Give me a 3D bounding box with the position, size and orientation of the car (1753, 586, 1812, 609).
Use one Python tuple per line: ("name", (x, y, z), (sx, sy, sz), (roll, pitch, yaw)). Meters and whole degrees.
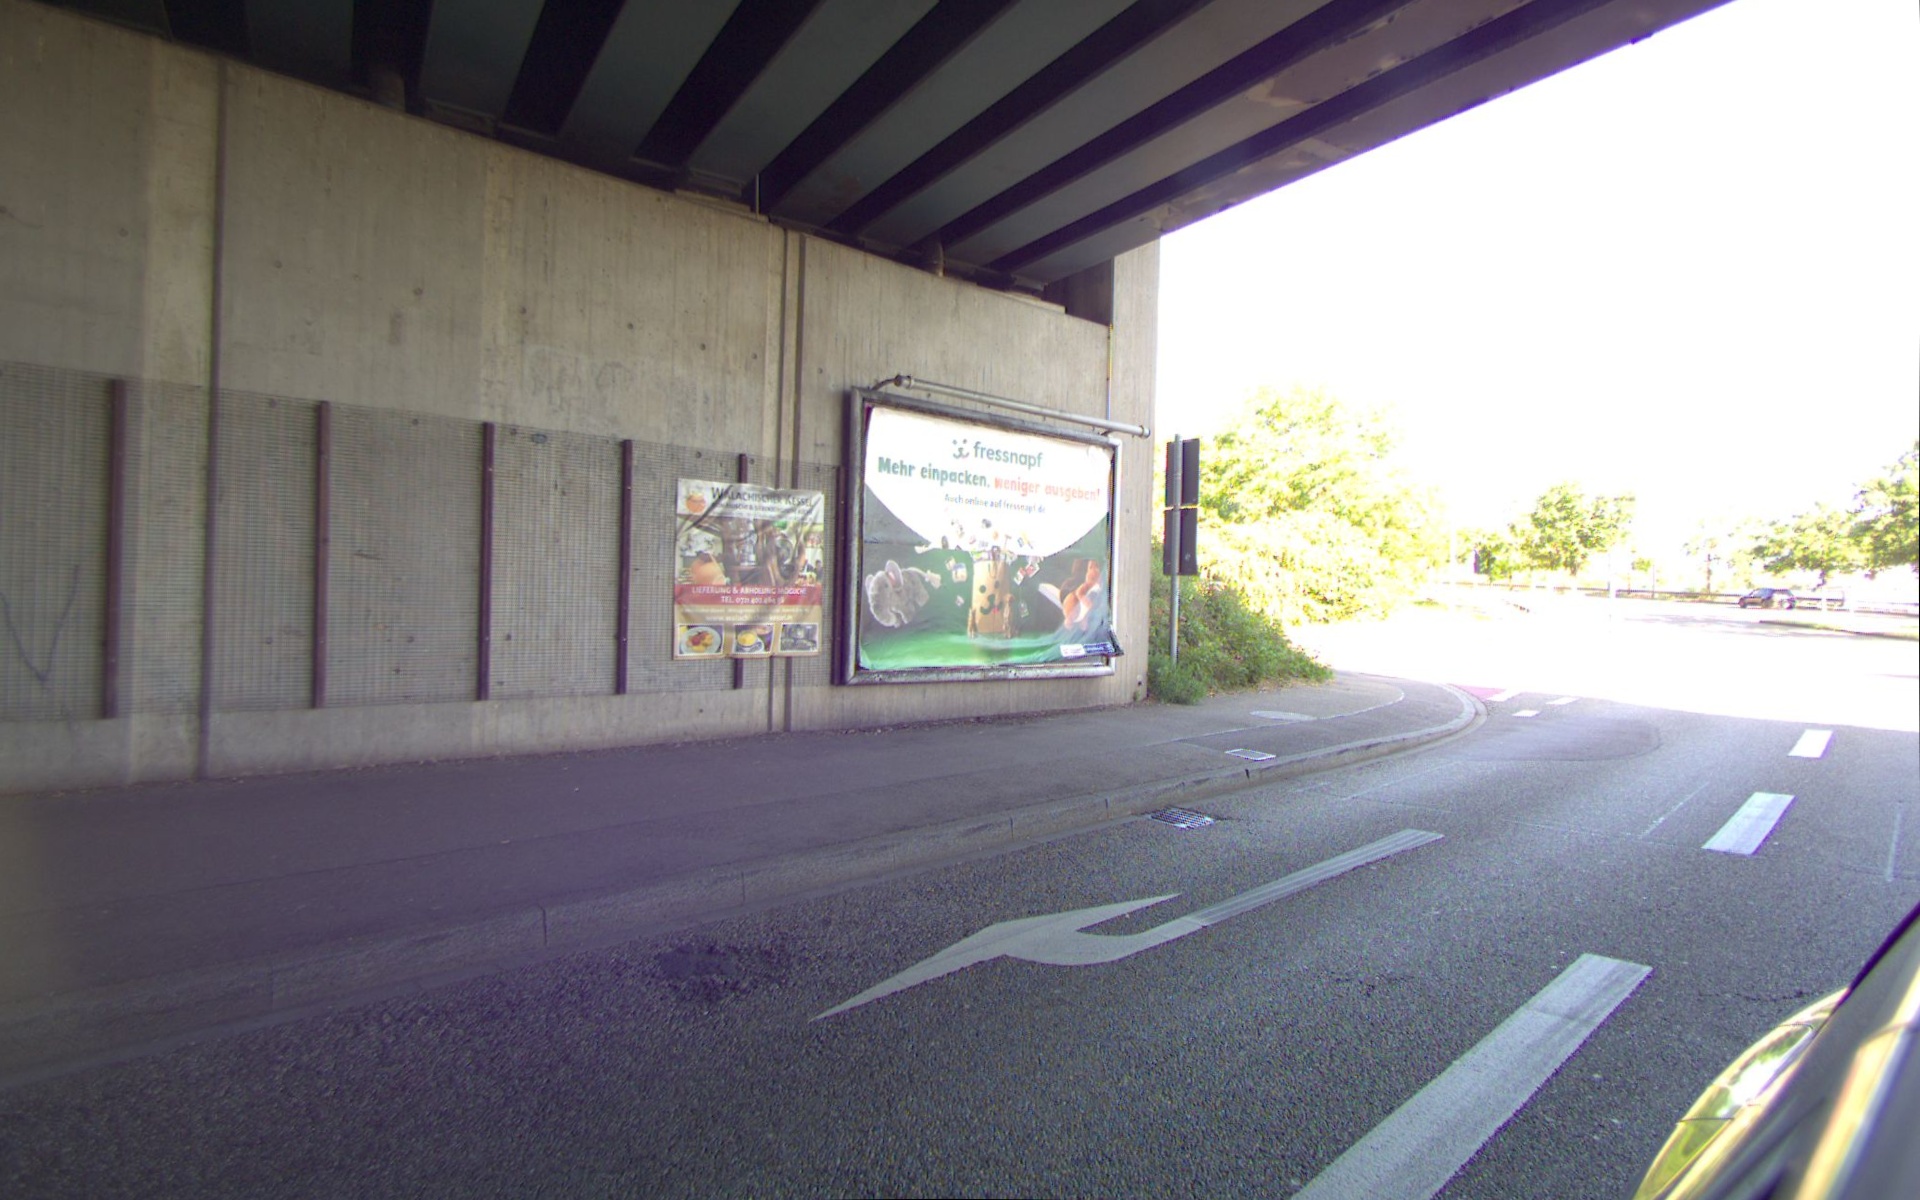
("car", (60.602, -0.179, 74.621), (1.832, 1.637, 4.341), (0, 0, 17))
